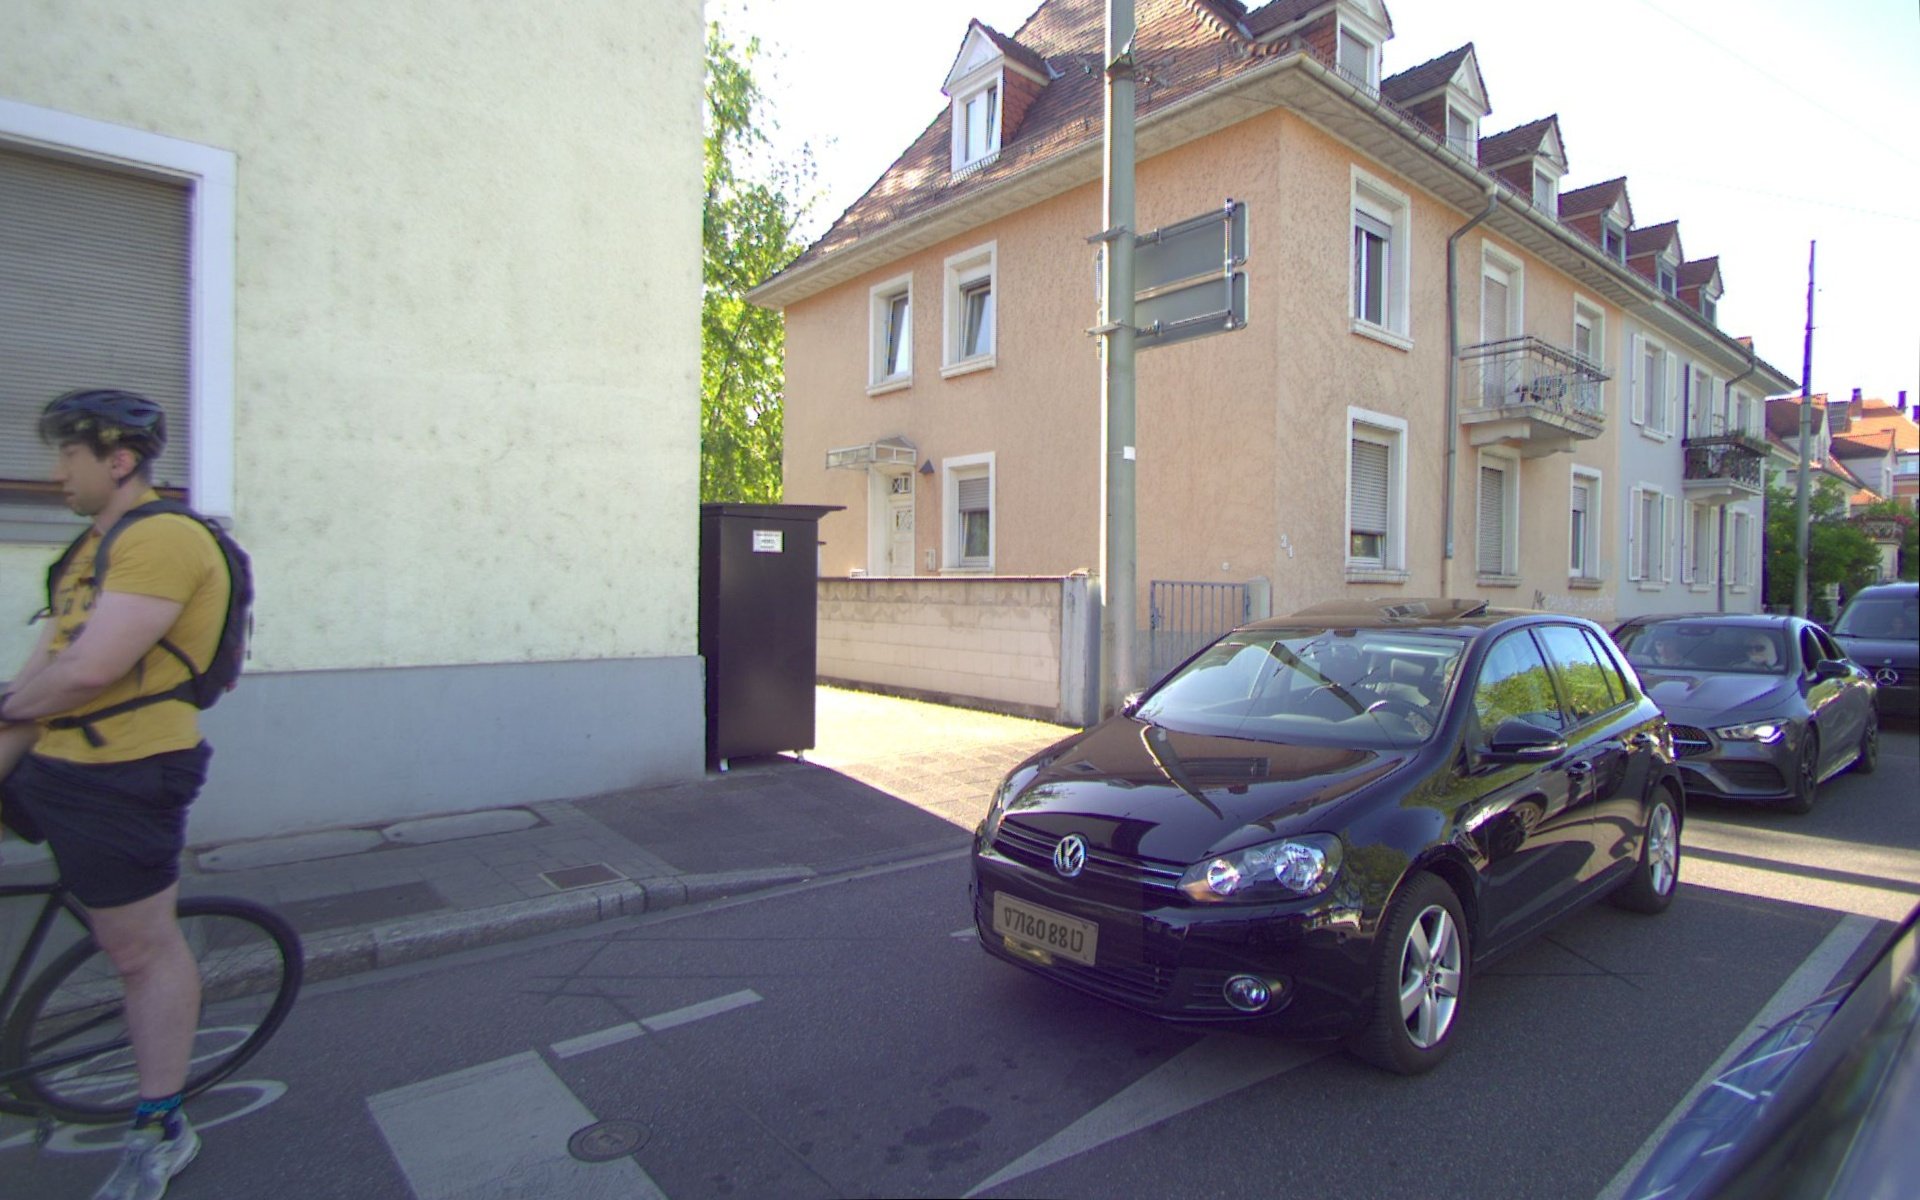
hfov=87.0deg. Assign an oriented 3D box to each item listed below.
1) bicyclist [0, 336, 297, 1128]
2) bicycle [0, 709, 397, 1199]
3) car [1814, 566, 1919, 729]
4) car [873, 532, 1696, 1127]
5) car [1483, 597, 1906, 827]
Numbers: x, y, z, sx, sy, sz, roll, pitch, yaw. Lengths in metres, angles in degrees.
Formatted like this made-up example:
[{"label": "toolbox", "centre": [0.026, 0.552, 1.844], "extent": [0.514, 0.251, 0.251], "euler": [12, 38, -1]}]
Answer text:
[{"label": "bicyclist", "centre": [-2.224, 0.277, 2.526], "extent": [0.868, 1.684, 0.807], "euler": [0, 0, -40]}, {"label": "bicycle", "centre": [-2.386, 0.880, 2.385], "extent": [1.749, 1.044, 0.756], "euler": [-1, 0, -40]}, {"label": "car", "centre": [12.548, 0.507, 12.883], "extent": [4.695, 1.827, 1.864], "euler": [-1, 0, -41]}, {"label": "car", "centre": [1.737, 0.632, 4.578], "extent": [3.979, 1.527, 1.731], "euler": [2, -1, -41]}, {"label": "car", "centre": [6.422, 0.711, 8.657], "extent": [4.413, 1.437, 1.911], "euler": [-1, 0, -40]}]
